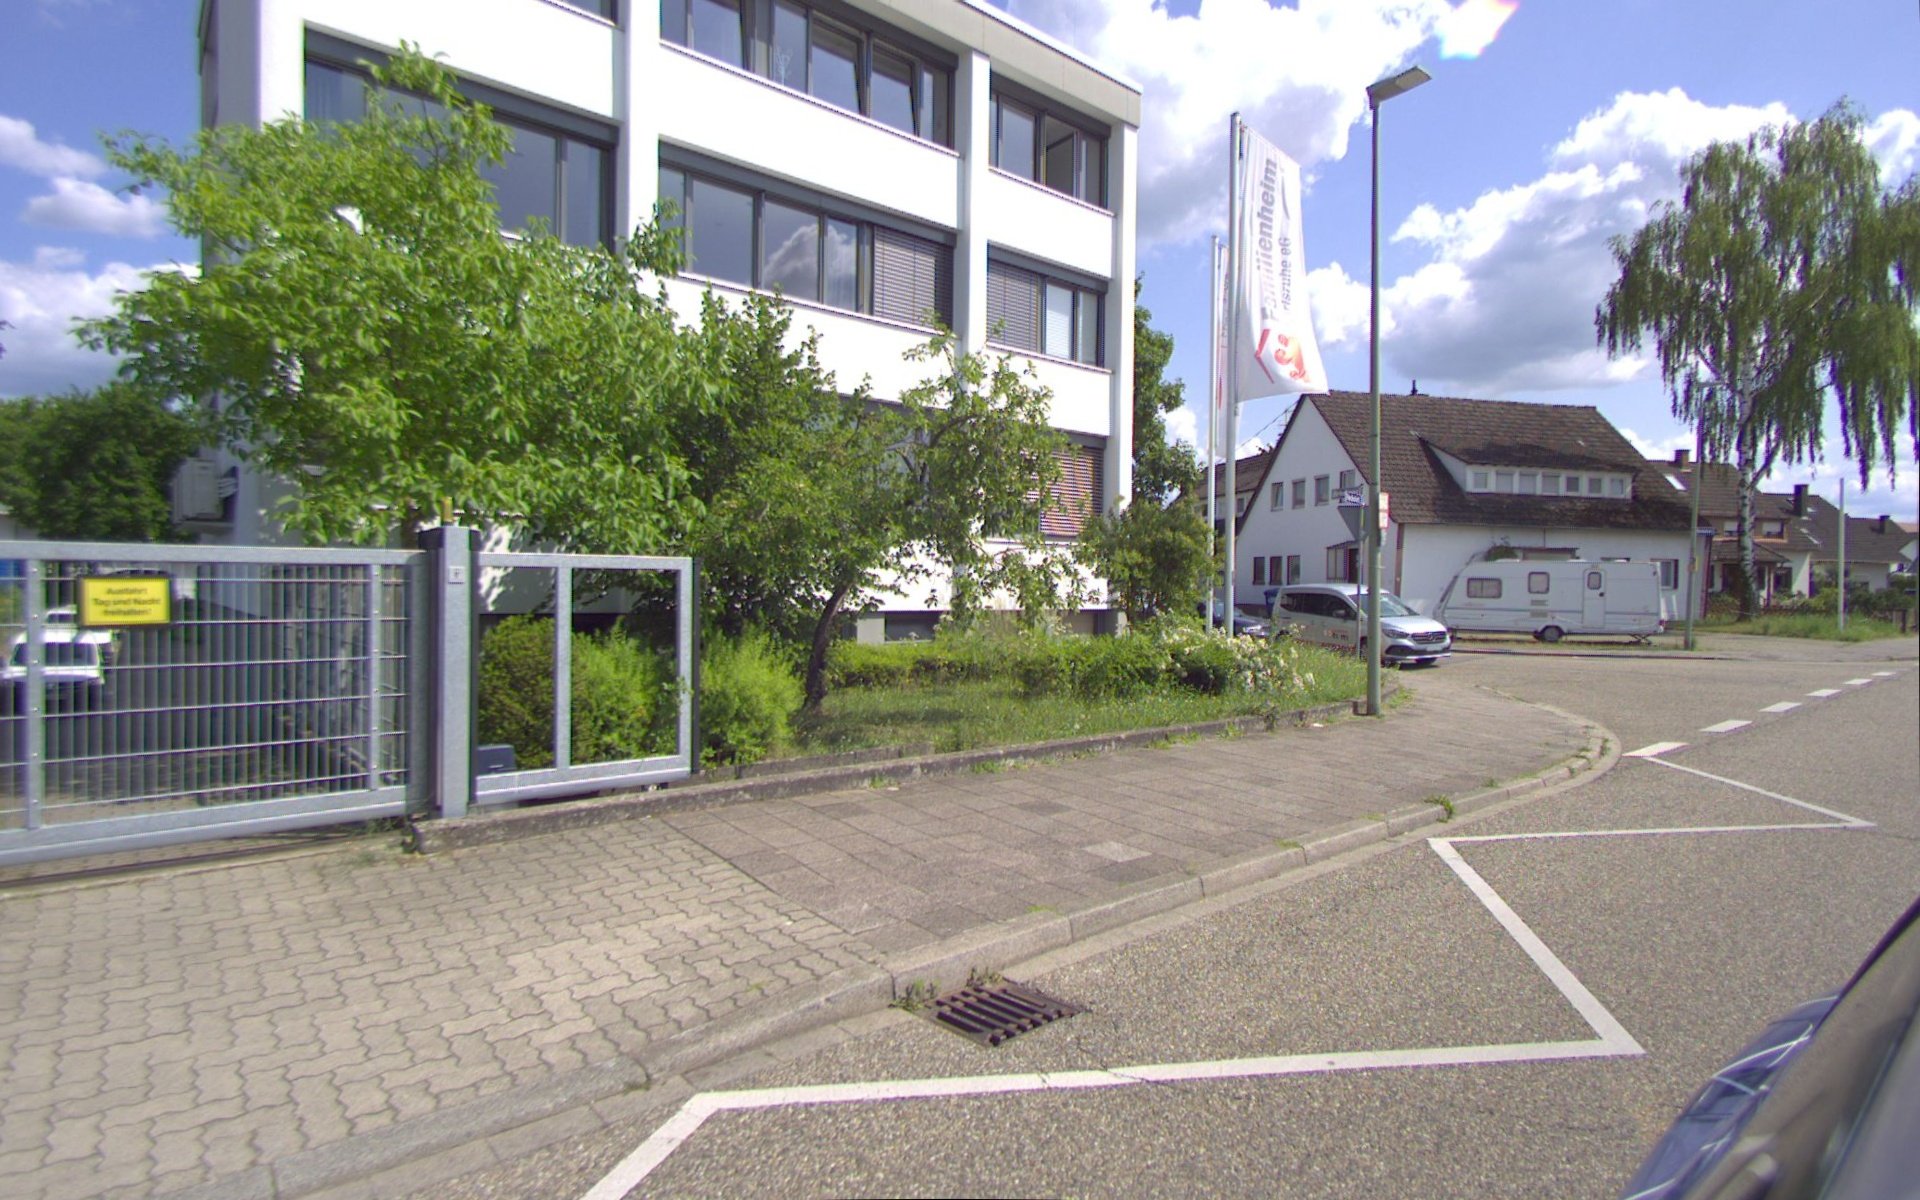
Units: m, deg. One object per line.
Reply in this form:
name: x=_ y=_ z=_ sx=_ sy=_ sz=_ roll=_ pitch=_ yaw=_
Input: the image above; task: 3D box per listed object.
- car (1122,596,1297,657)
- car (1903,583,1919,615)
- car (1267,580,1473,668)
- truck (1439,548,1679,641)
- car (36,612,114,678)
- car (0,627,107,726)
car: x=6.764 y=0.659 z=27.928 sx=1.727 sy=1.445 sz=4.625 roll=-2 pitch=2 yaw=-37
car: x=58.747 y=-0.053 z=61.539 sx=4.939 sy=1.889 sz=1.858 roll=0 pitch=1 yaw=-45
car: x=9.197 y=0.445 z=23.134 sx=1.826 sy=1.774 sz=4.419 roll=-1 pitch=1 yaw=-21
truck: x=17.932 y=-0.187 z=30.787 sx=5.994 sy=2.610 sz=2.545 roll=0 pitch=0 yaw=24
car: x=-28.571 y=1.384 z=32.687 sx=1.788 sy=1.950 sz=4.157 roll=0 pitch=0 yaw=-41
car: x=-20.626 y=1.635 z=23.011 sx=1.788 sy=1.950 sz=4.157 roll=0 pitch=0 yaw=-41
